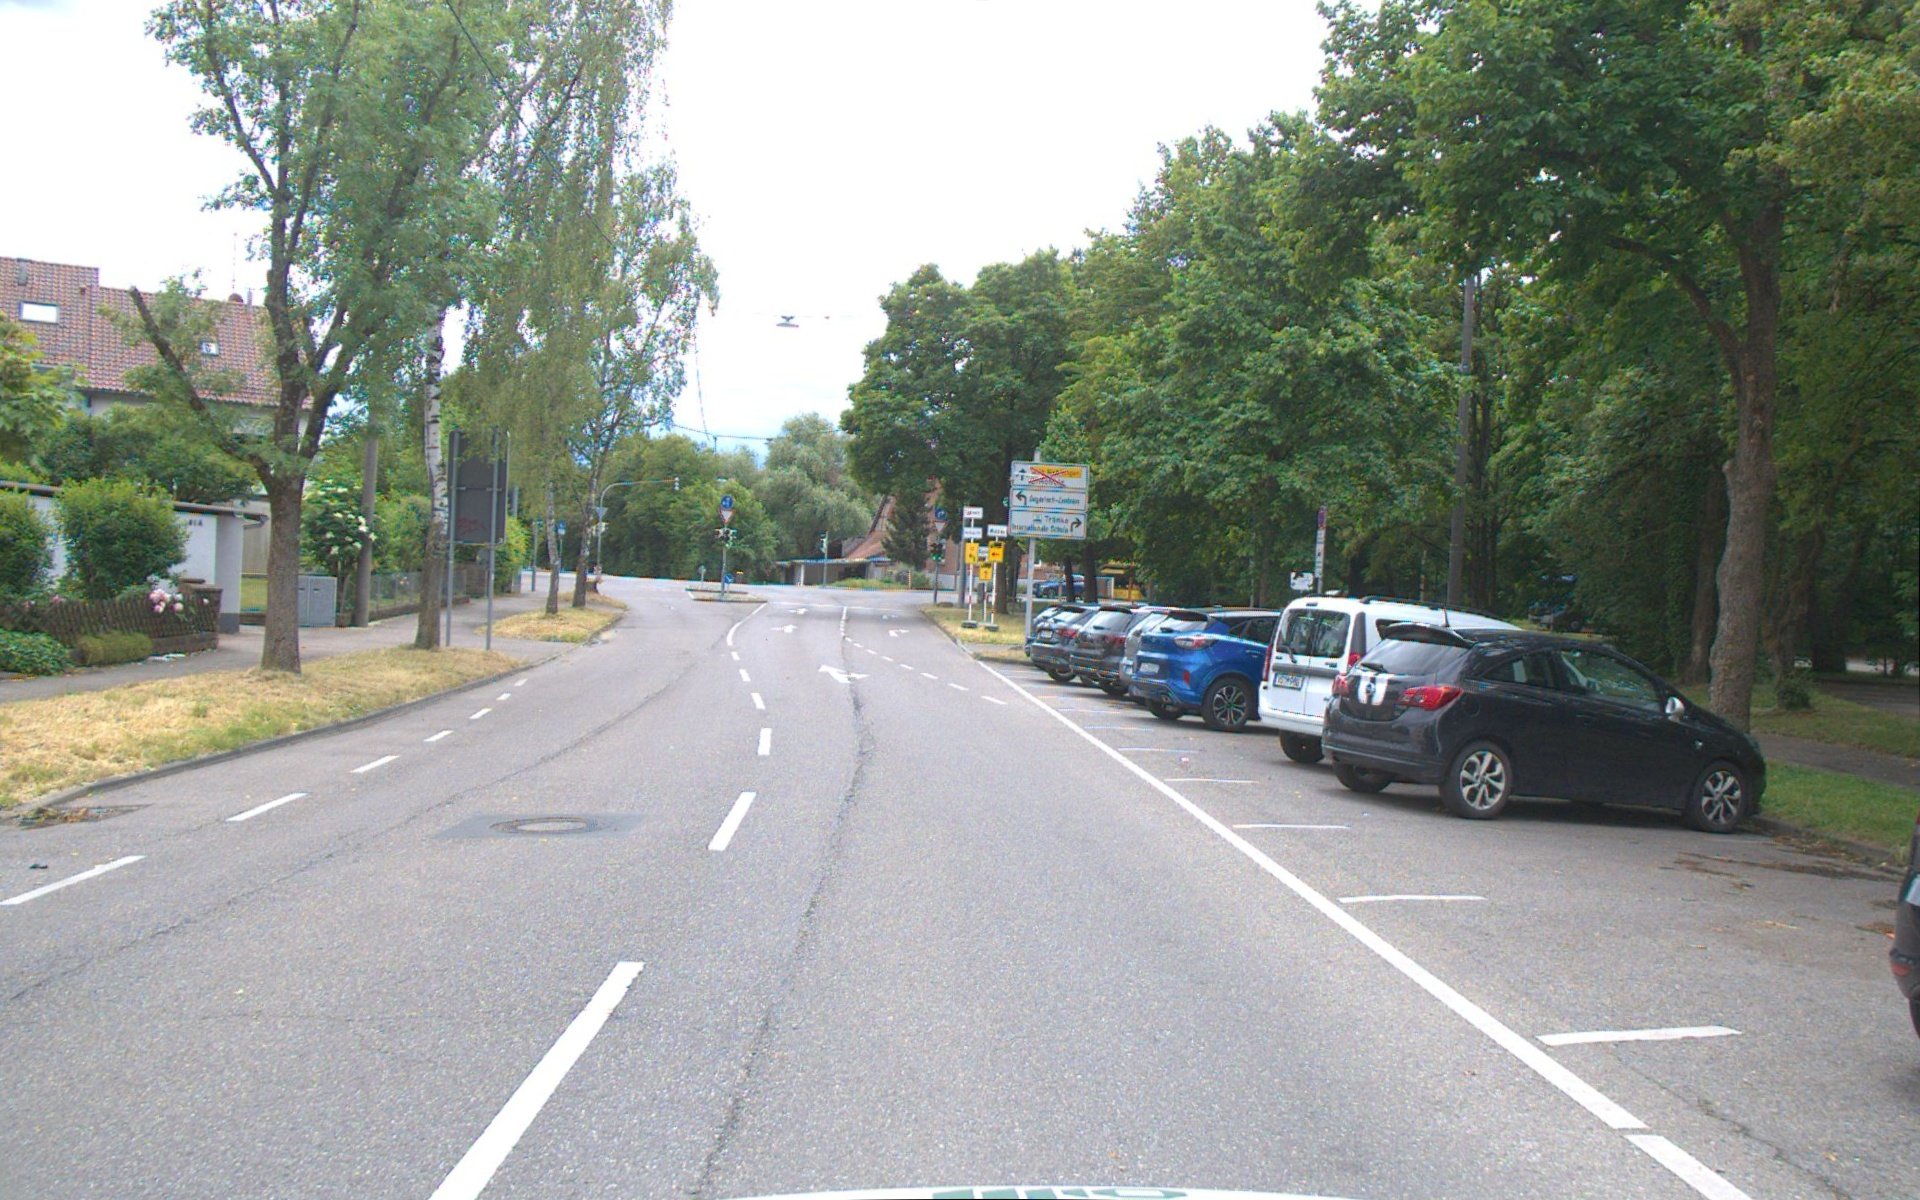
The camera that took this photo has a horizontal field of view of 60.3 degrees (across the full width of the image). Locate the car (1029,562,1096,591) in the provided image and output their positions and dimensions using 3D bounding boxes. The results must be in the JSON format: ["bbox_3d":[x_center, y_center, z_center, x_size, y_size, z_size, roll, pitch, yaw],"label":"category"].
[{"bbox_3d":[6.644,-1.528,107.411,3.795,1.676,1.985,2,1,-24],"label":"car"}]

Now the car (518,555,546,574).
[{"bbox_3d":[-37.026,-3.097,143.077,1.770,1.538,3.972,2,1,-23],"label":"car"}]

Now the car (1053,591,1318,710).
[{"bbox_3d":[3.591,0.803,26.350,3.766,1.555,1.735,5,-1,-23],"label":"car"}]

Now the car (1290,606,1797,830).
[{"bbox_3d":[4.904,0.987,13.939,3.766,1.493,1.735,5,0,-23],"label":"car"}]

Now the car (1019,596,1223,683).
[{"bbox_3d":[3.332,0.814,34.276,3.766,1.450,1.735,5,-1,-23],"label":"car"}]

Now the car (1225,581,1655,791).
[{"bbox_3d":[4.835,0.859,16.712,3.766,1.749,1.866,5,-1,-23],"label":"car"}]

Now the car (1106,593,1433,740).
[{"bbox_3d":[4.005,0.852,21.416,3.766,1.555,1.735,5,-1,-23],"label":"car"}]

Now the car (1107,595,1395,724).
[{"bbox_3d":[4.288,0.873,24.392,3.766,1.555,1.735,5,-1,-23],"label":"car"}]

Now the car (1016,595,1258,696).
[{"bbox_3d":[3.143,0.804,29.468,3.820,1.450,1.818,5,-1,-23],"label":"car"}]

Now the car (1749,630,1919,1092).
[{"bbox_3d":[5.021,1.008,5.664,3.932,1.438,2.044,5,-1,-23],"label":"car"}]

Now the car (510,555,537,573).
[{"bbox_3d":[-39.336,-3.242,148.952,1.770,1.434,3.972,2,1,-23],"label":"car"}]
